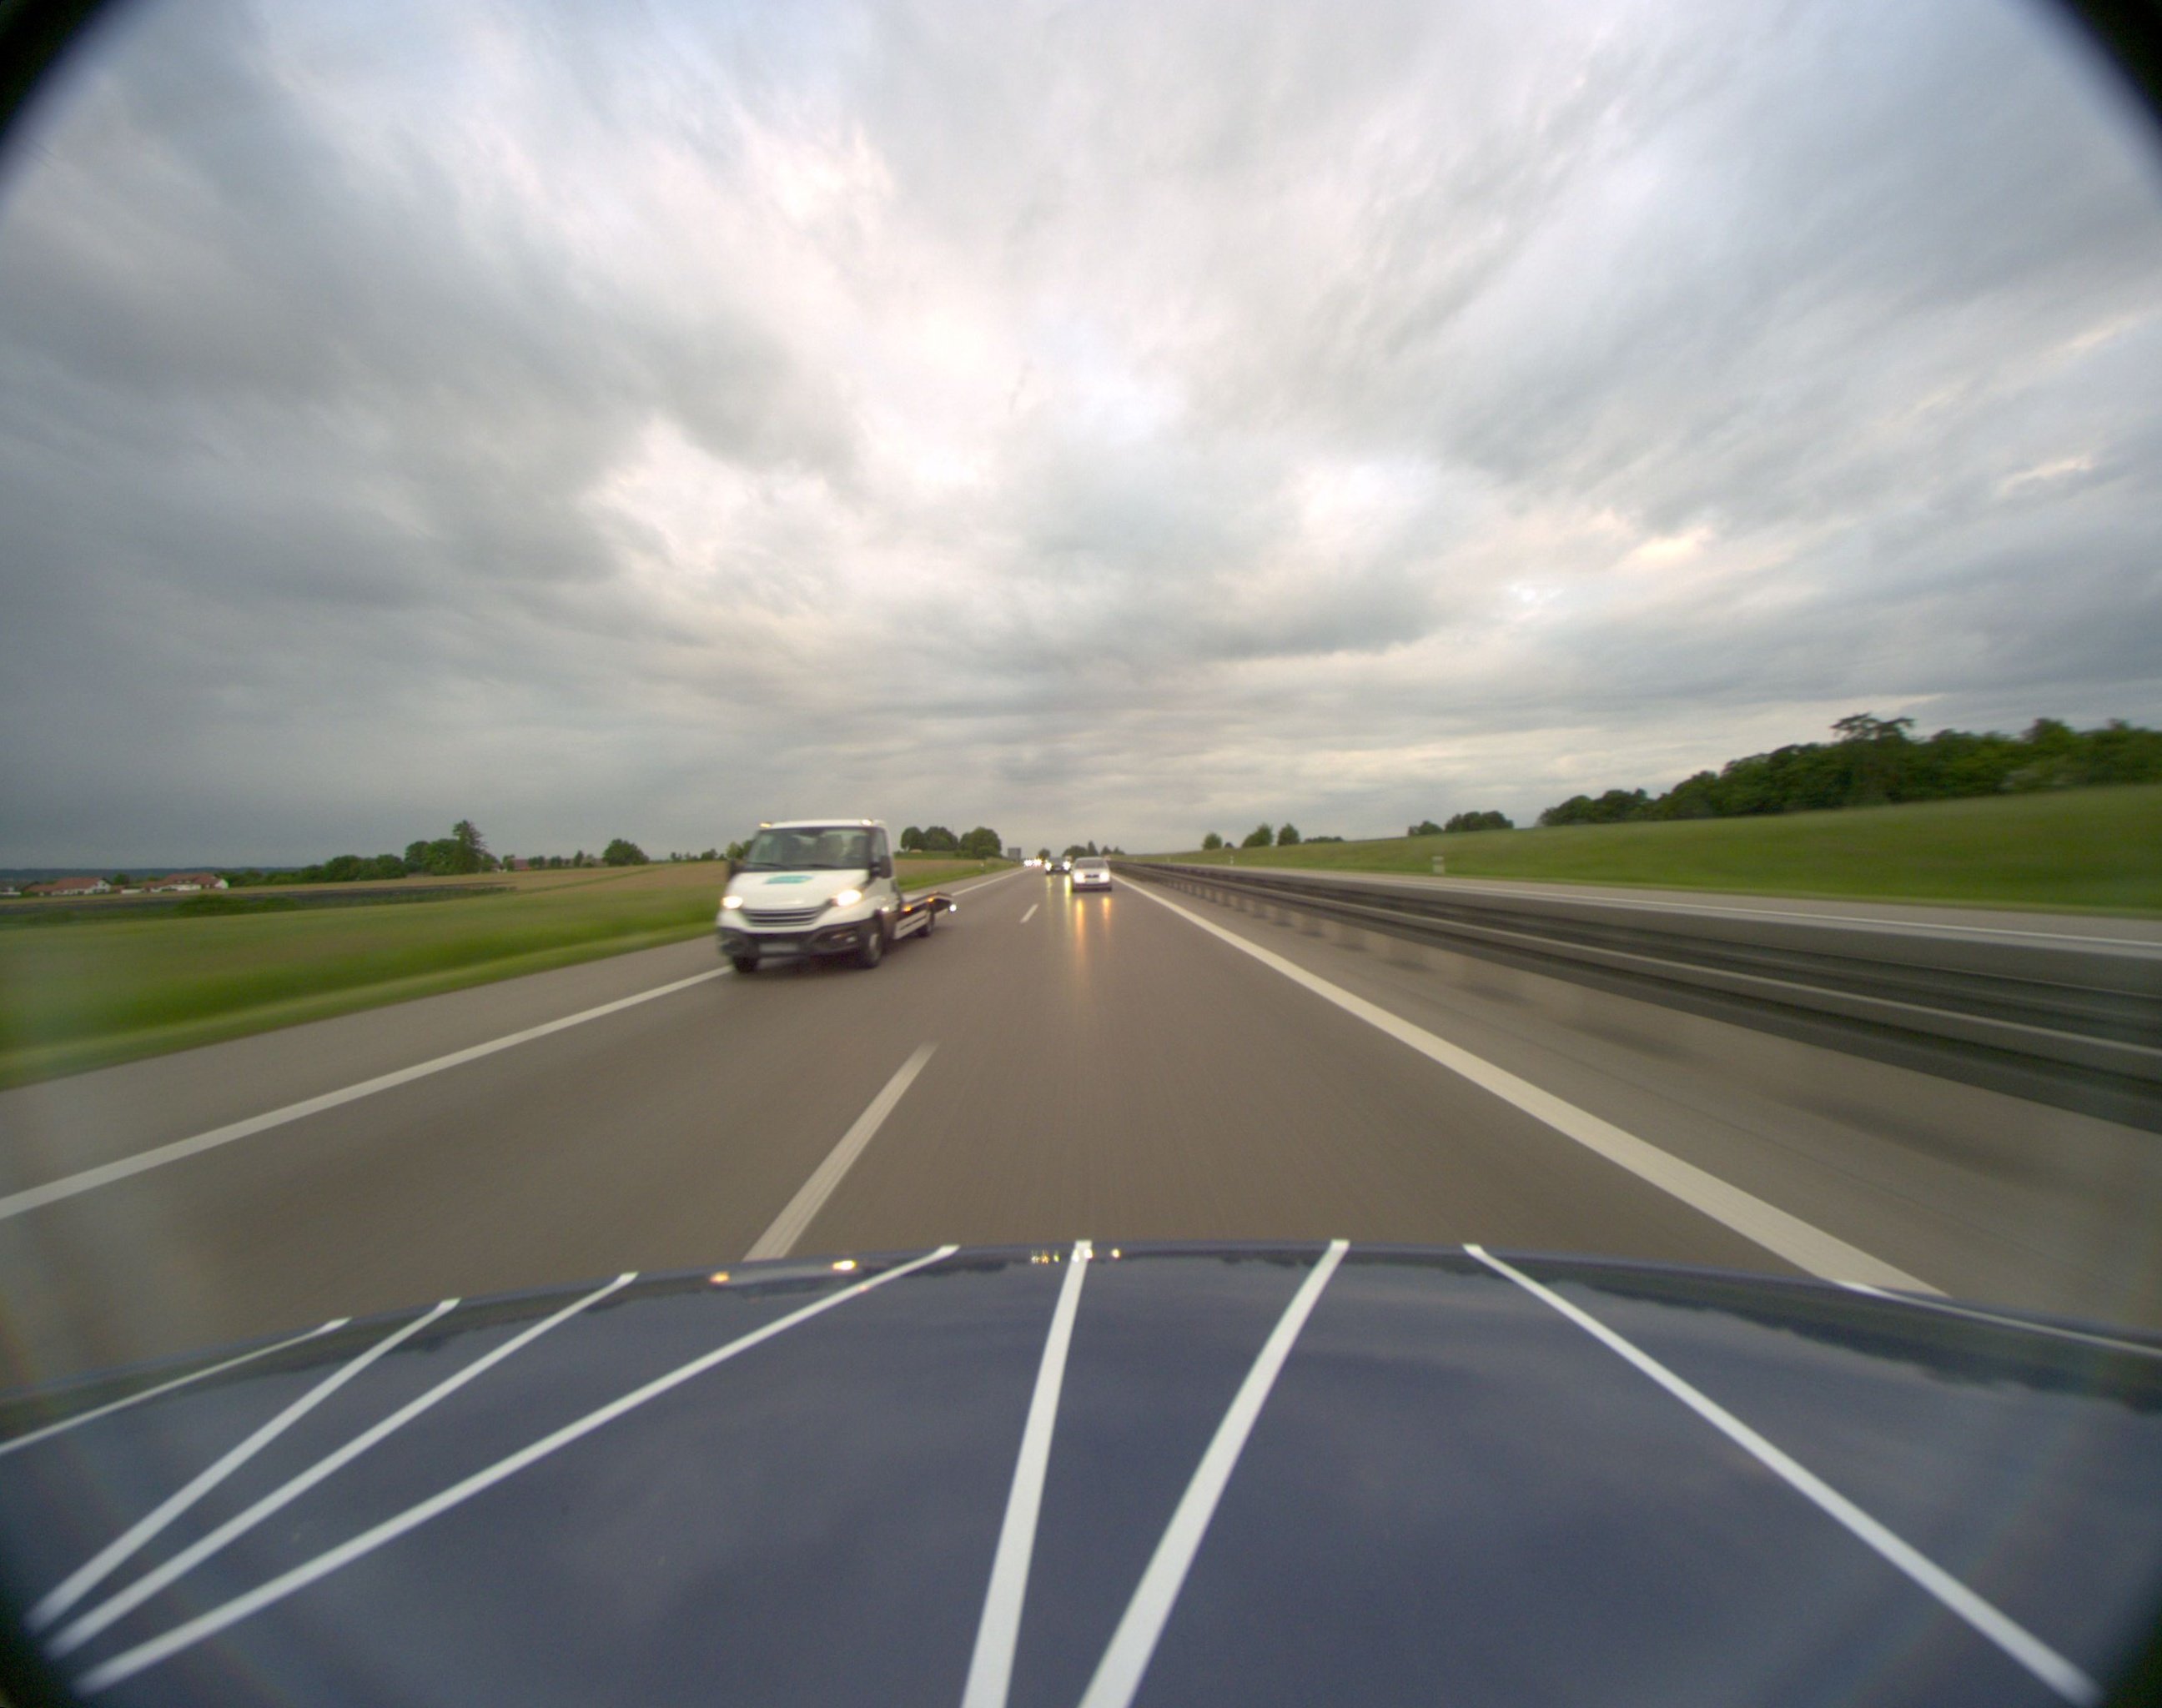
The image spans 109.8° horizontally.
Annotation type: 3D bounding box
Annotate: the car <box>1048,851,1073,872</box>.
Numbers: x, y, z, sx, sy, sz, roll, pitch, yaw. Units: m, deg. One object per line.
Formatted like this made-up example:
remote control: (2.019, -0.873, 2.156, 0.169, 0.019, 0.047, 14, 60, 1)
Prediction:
car: (-1.708, 0.600, 63.427, 1.951, 1.620, 4.535, -1, 0, -1)

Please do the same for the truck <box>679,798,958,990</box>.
truck: (-3.958, 0.500, 13.519, 2.177, 2.346, 7.696, -3, 0, 0)

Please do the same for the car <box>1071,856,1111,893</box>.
car: (0.422, 0.809, 32.352, 1.592, 1.381, 4.601, 0, 1, 1)

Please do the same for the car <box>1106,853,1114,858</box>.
car: (7.968, 0.416, 207.675, 1.848, 1.453, 4.000, -3, 0, 0)

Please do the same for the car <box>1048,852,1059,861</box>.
car: (-5.032, 0.478, 138.672, 1.808, 1.619, 3.901, -1, 0, -6)
